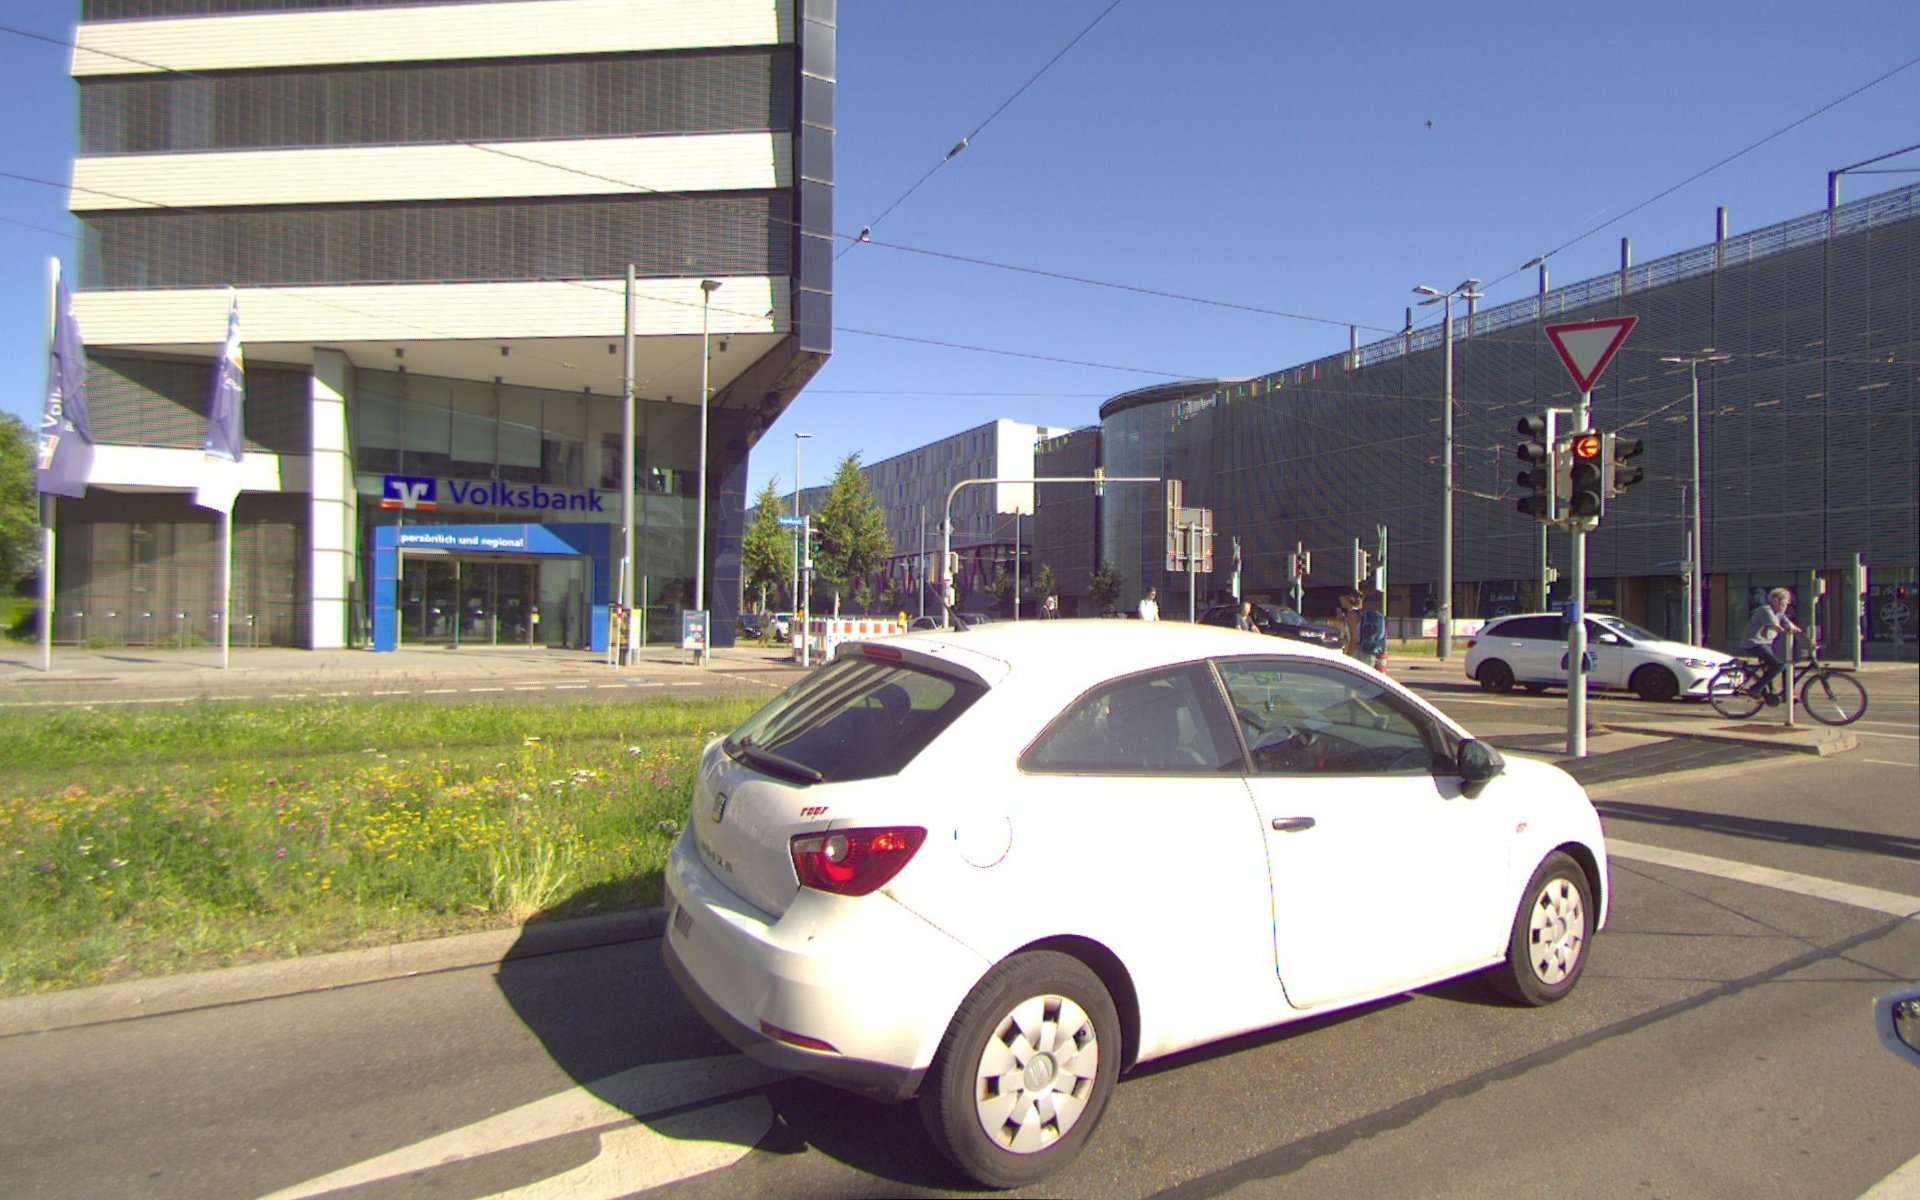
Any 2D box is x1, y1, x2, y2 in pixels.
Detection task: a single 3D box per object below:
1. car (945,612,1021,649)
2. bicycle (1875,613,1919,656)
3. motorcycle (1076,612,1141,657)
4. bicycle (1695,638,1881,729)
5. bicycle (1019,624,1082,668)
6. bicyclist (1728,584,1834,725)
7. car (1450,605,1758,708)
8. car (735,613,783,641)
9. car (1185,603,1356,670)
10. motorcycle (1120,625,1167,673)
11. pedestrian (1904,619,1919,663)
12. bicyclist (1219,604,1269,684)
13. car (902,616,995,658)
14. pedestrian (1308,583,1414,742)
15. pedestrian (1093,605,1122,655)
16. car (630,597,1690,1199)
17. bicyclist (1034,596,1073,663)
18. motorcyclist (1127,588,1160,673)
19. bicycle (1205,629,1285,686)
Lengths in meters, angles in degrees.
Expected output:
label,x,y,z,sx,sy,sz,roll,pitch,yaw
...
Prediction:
label,x,y,z,sx,sy,sz,roll,pitch,yaw
car,0.957,1.306,44.137,1.800,1.545,3.738,1,-1,-27
bicycle,46.844,1.680,48.333,1.314,2.040,3.969,0,0,-29
motorcycle,5.109,1.172,34.760,0.904,1.438,2.430,1,0,-31
bicycle,11.423,1.111,13.930,0.843,1.131,1.821,1,-1,-29
bicycle,2.466,1.243,27.725,0.687,1.050,1.914,1,2,-32
bicyclist,11.412,0.741,13.975,0.844,1.884,0.898,1,-1,-29
car,11.685,0.940,18.545,1.820,1.656,4.462,0,-1,-33
car,-12.694,1.668,63.167,1.824,1.673,4.221,1,-1,-28
car,8.686,0.964,28.513,1.819,1.741,4.610,0,0,-32
motorcycle,4.456,1.173,24.399,0.477,1.136,1.181,1,-1,-30
pedestrian,42.013,1.784,43.878,0.804,1.893,0.906,0,-1,13
bicyclist,6.110,0.936,21.646,0.682,1.670,0.778,1,-1,-32
car,-0.508,1.385,38.509,1.889,1.483,4.060,1,-1,-28
pedestrian,4.567,0.688,11.462,0.704,1.730,0.881,1,-1,-30
pedestrian,5.103,1.035,34.774,0.657,1.699,0.740,1,0,-30
car,0.866,0.779,3.763,3.738,1.442,1.624,1,2,-30
bicyclist,2.568,0.806,27.589,0.755,1.812,0.758,1,-1,-33
motorcyclist,4.463,0.733,24.376,0.491,2.040,0.625,1,-1,-30
bicycle,6.125,1.218,21.655,0.726,1.122,1.567,1,1,-31
